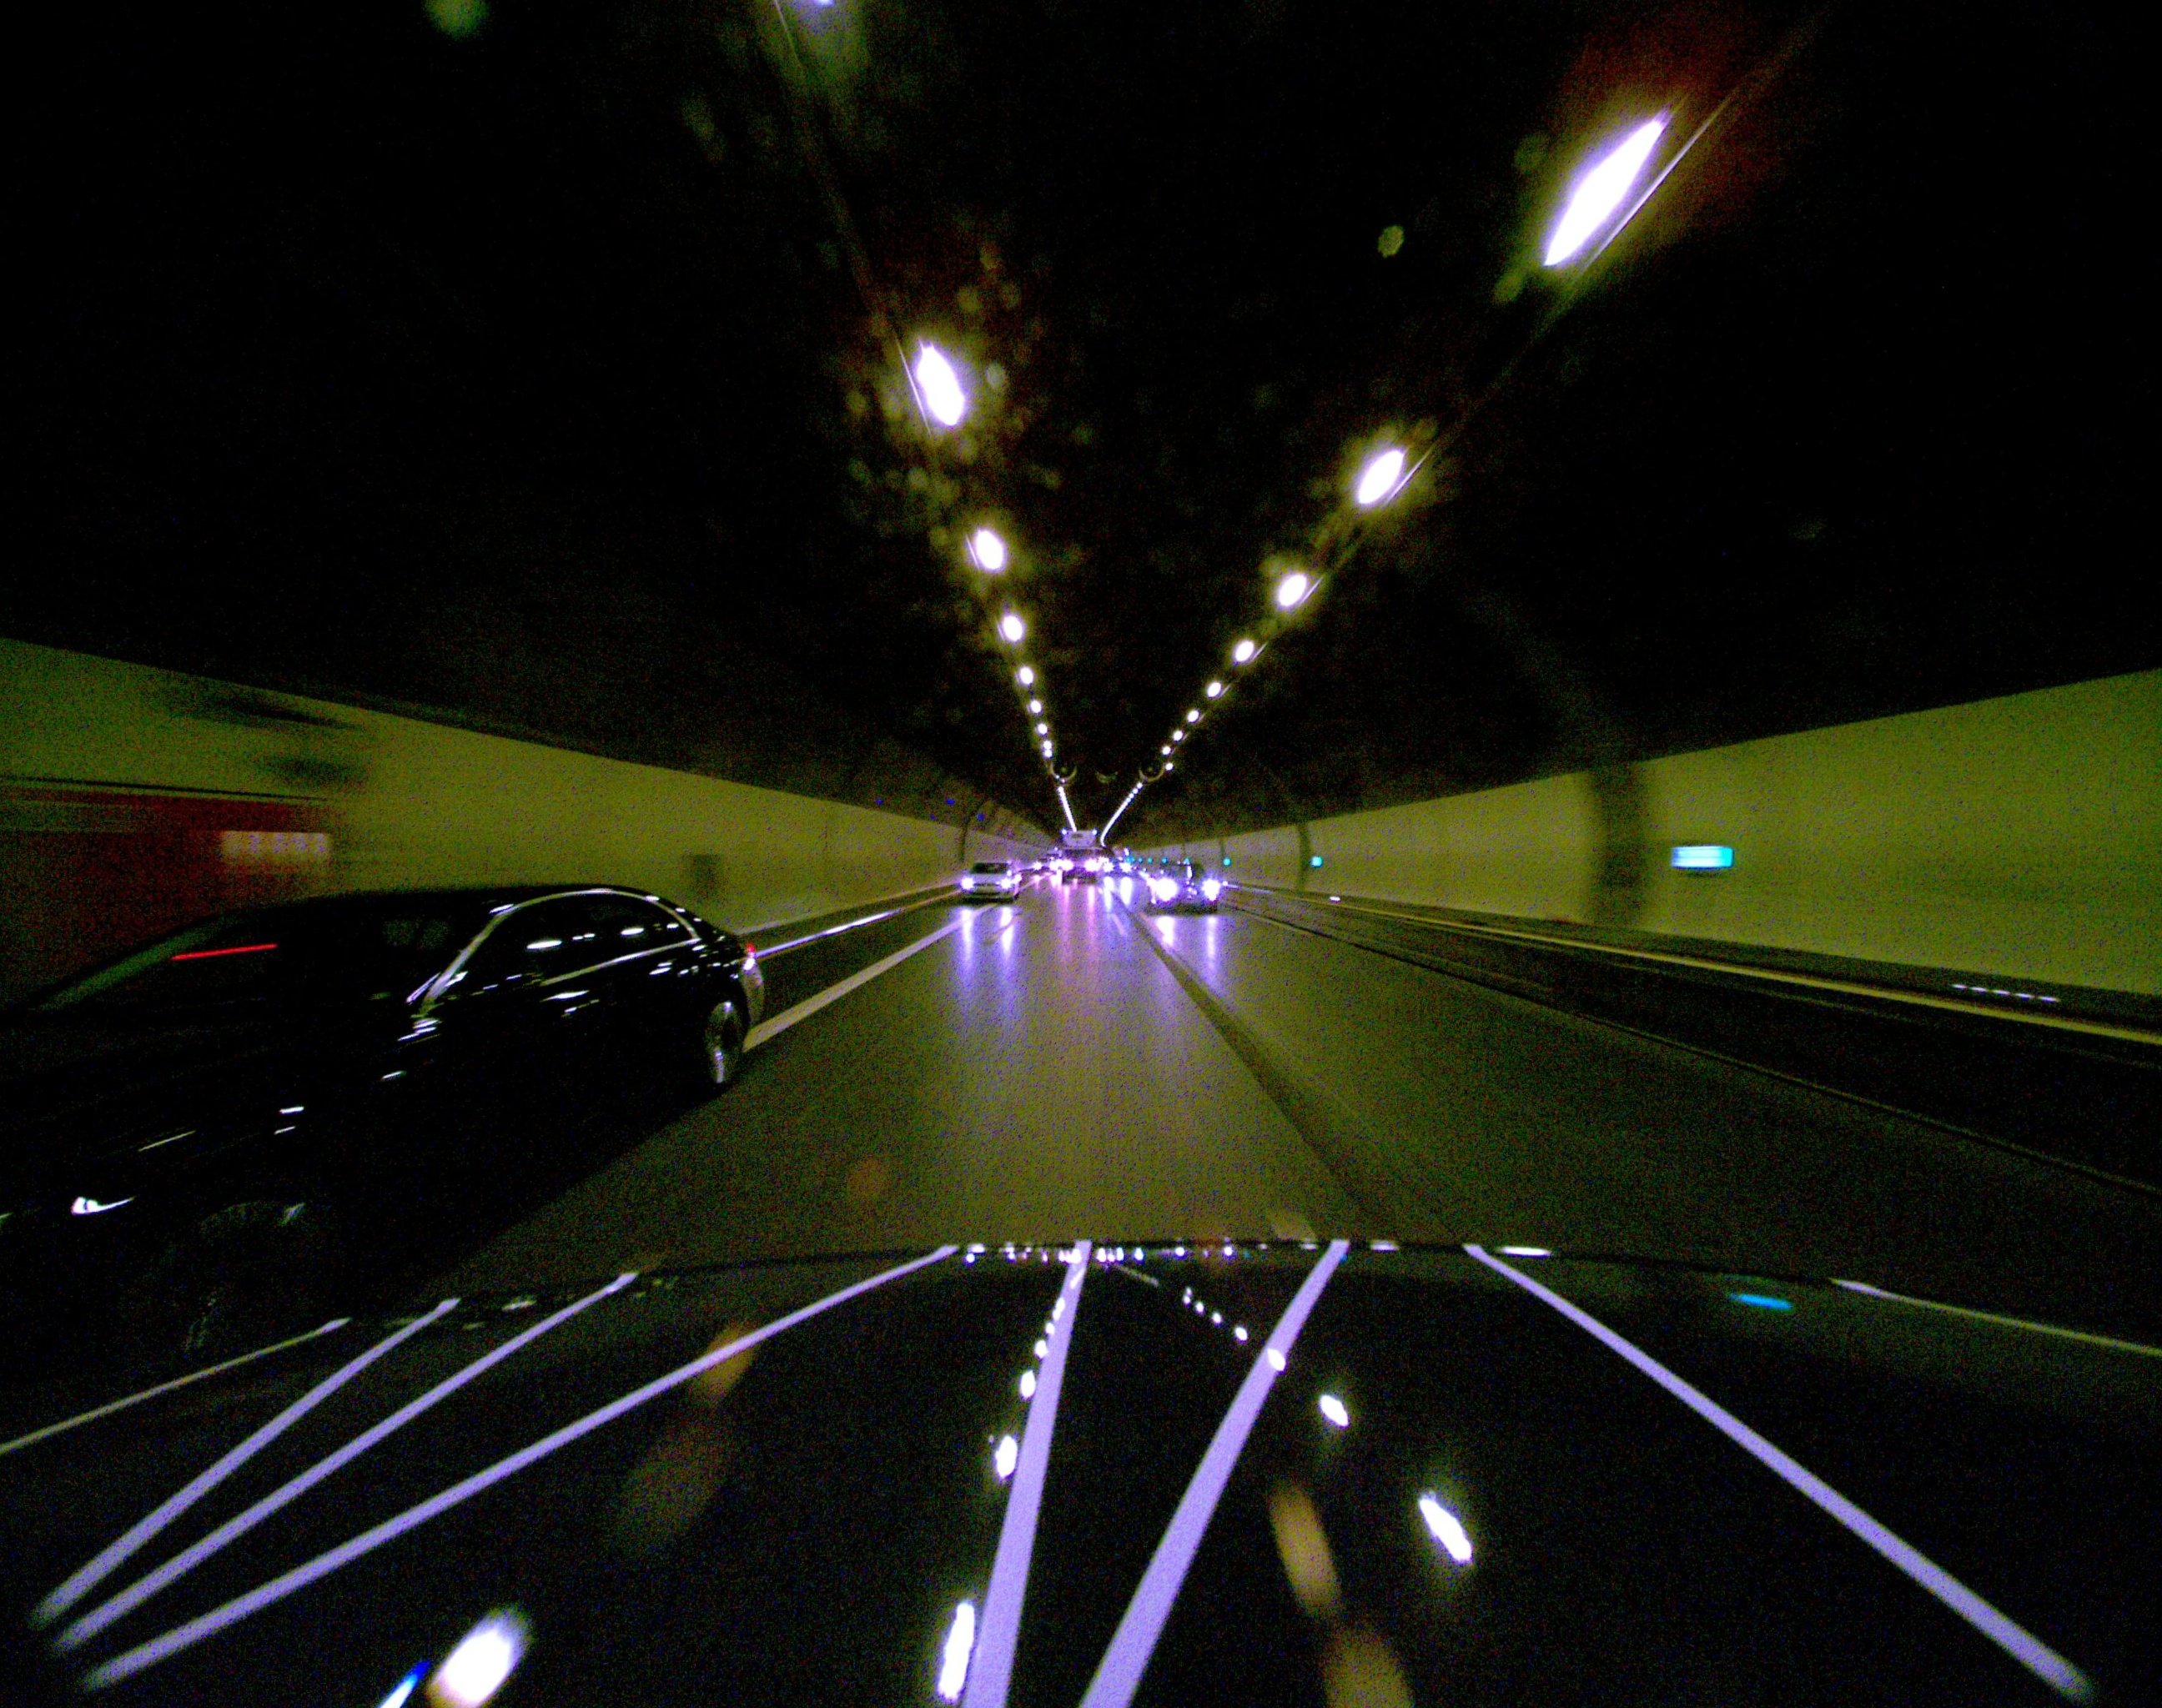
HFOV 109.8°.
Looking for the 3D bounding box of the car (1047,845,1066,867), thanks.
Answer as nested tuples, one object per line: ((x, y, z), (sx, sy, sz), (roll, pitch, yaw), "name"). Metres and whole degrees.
((-3.031, 0.183, 96.058), (2.124, 2.629, 6.229), (0, 1, 0), "car")

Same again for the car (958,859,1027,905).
((-3.036, 0.915, 26.927), (1.801, 1.452, 4.035), (1, 0, 2), "car")

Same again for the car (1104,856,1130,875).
((3.080, 0.949, 65.332), (1.958, 1.527, 4.757), (-2, 0, 0), "car")

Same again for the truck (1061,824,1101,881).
((0.026, -0.083, 47.675), (2.262, 3.238, 7.383), (1, 0, 0), "truck")

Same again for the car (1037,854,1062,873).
((-2.771, 0.818, 67.558), (1.958, 1.527, 4.757), (0, 0, 0), "car")

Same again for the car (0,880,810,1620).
((-3.353, 0.976, 4.102), (1.930, 1.464, 4.954), (1, 0, 1), "car")

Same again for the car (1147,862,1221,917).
((2.880, 0.956, 21.881), (1.657, 1.395, 3.657), (-1, 0, 0), "car")
